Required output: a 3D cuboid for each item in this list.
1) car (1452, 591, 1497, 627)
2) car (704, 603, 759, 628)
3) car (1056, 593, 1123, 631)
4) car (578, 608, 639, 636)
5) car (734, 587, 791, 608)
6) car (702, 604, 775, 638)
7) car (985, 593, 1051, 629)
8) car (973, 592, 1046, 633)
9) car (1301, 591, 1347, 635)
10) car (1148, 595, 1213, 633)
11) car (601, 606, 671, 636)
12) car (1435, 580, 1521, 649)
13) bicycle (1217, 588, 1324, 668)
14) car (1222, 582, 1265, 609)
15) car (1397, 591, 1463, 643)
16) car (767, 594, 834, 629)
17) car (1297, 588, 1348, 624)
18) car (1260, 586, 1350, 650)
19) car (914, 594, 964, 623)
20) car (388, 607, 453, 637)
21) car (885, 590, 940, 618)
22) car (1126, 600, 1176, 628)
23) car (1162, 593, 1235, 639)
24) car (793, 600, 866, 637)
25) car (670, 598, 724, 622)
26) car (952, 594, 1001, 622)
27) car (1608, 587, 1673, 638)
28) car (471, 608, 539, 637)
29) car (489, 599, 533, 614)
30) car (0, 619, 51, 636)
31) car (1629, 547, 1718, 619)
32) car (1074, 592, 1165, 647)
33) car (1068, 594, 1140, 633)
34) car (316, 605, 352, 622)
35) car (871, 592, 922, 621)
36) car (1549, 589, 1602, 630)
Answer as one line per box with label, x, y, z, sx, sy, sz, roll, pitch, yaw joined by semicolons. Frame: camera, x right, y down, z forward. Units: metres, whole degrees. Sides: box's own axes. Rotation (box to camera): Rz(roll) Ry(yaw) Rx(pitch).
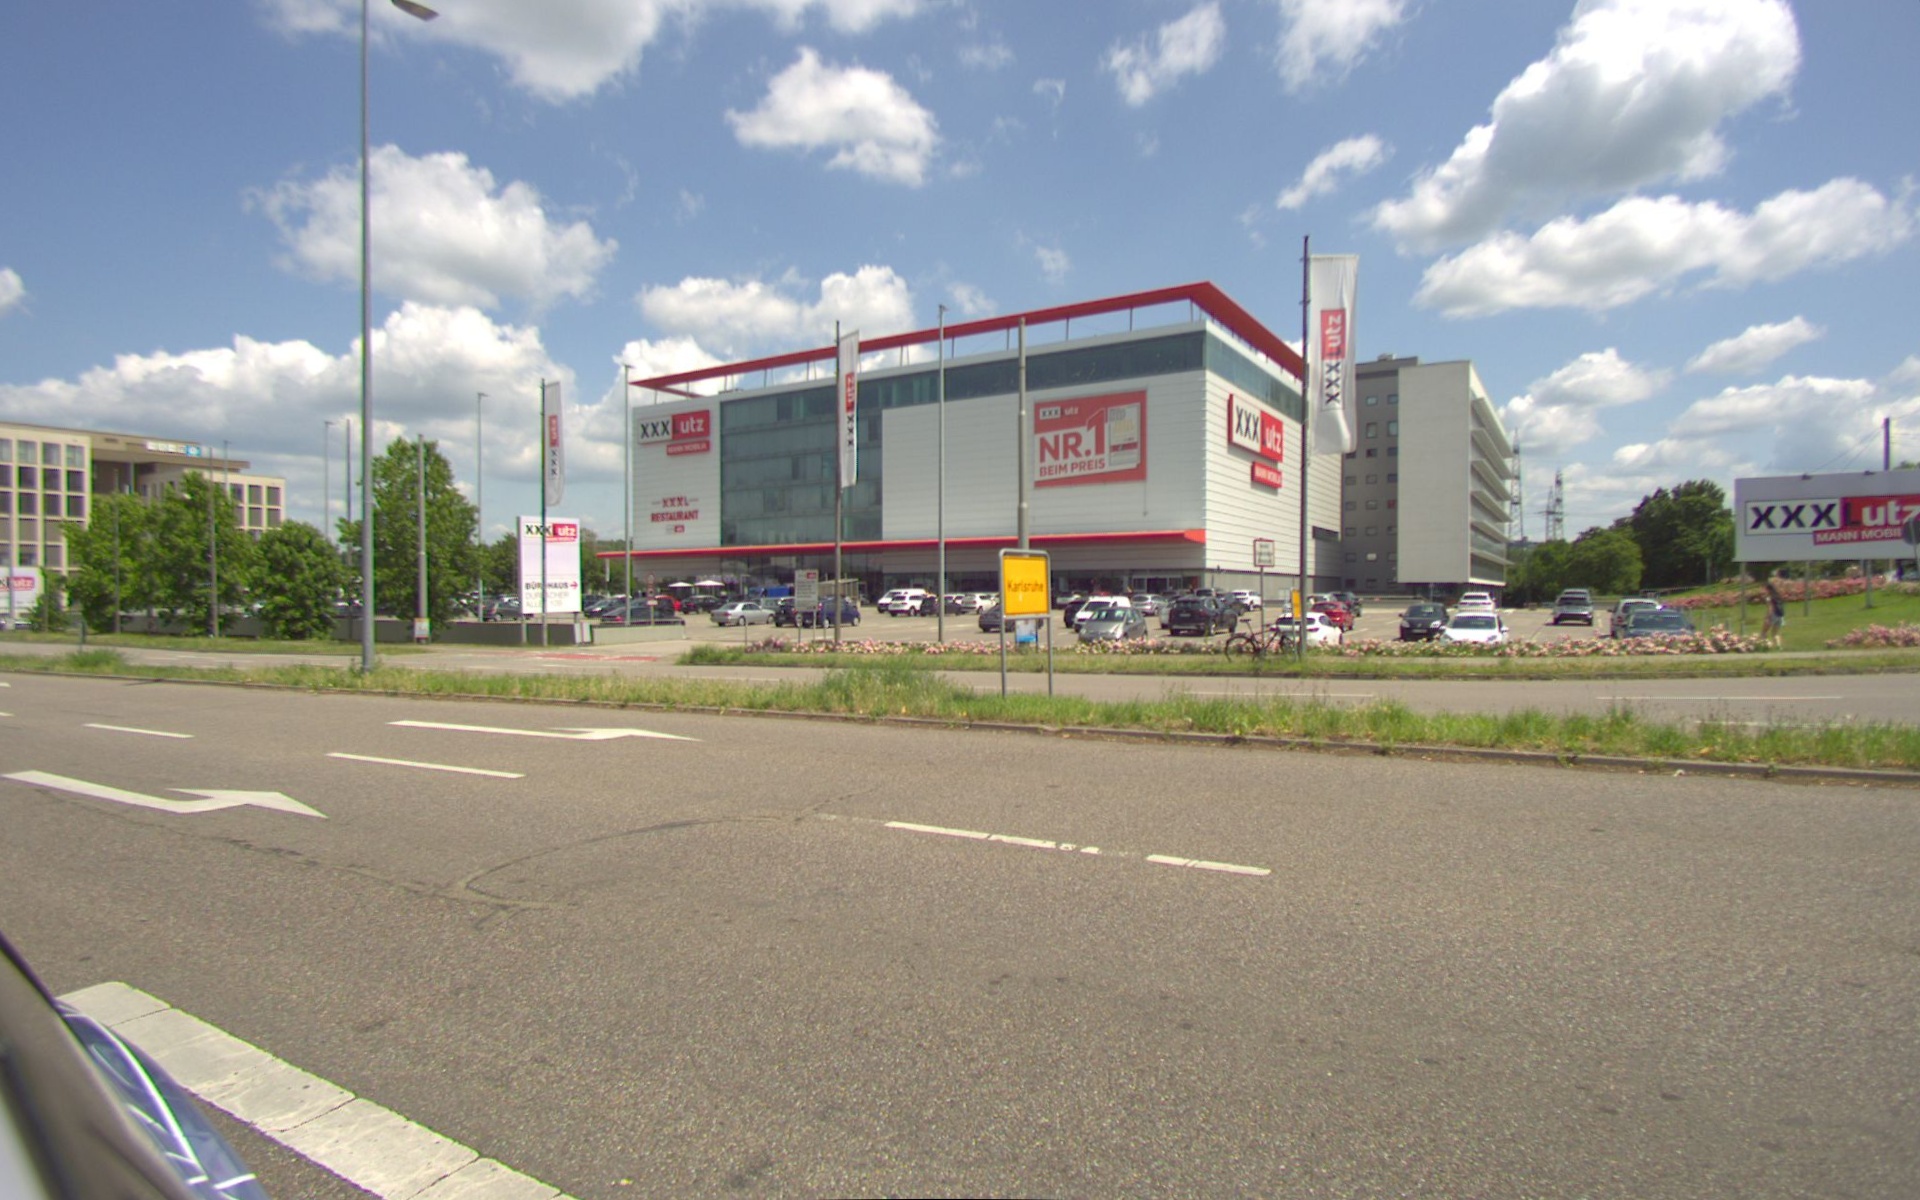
car;30.107;0.521;59.161;1.993;2.004;4.316;-1;-1;31
car;-18.933;1.306;84.043;1.993;2.004;4.316;-1;-1;31
car;7.086;0.646;55.052;1.993;2.004;4.316;-1;-1;31
car;-27.294;1.692;78.748;1.984;2.058;4.255;-1;-1;31
car;-17.633;-0.159;90.444;2.191;1.792;5.080;-1;-1;31
car;-13.732;1.298;62.927;1.993;2.004;4.316;-1;-1;31
car;3.389;0.603;58.220;1.993;2.004;4.316;1;0;31
car;2.598;0.638;52.185;1.993;2.004;4.316;-1;-1;31
car;17.717;0.613;49.279;1.985;2.004;5.274;-1;0;20
car;11.524;0.718;52.709;1.993;1.896;4.316;-1;-1;31
car;-22.146;1.399;69.257;1.993;2.004;4.316;-1;-1;31
car;16.344;0.445;31.820;1.994;2.029;3.955;-1;-1;33
bicycle;6.865;0.621;22.392;2.042;1.688;1.009;-1;-1;33
car;21.449;-0.320;76.396;1.994;2.004;4.040;-1;-1;33
car;19.380;0.682;41.641;1.993;2.004;4.316;-1;-1;31
car;-9.543;0.657;60.749;1.836;2.004;4.042;-1;1;31
car;21.123;0.365;58.839;1.992;2.004;4.579;-1;-1;30
car;11.751;0.587;34.272;1.993;2.004;4.316;-1;-1;31
car;-1.517;0.613;73.238;1.771;2.029;3.957;-1;-1;31
car;-44.225;1.796;83.088;1.993;2.346;4.316;-1;-1;31
car;-3.484;0.308;74.652;1.993;2.004;4.316;-1;-1;31
car;13.086;0.944;69.279;1.993;1.896;4.316;-1;-1;31
car;11.132;0.690;46.964;1.993;2.004;4.548;0;1;31
car;-7.605;1.075;59.287;1.993;2.004;4.317;-1;1;31
car;-22.486;0.845;86.745;1.993;2.004;4.316;-1;-1;31
car;1.273;0.602;77.475;1.993;2.029;3.957;-1;-1;31
car;28.074;0.496;41.872;1.993;2.004;4.316;-1;-1;31
car;-34.461;1.686;76.726;1.993;2.004;4.316;-3;-1;31
car;-45.070;0.667;101.681;1.676;1.481;3.789;-1;-1;34
car;-102.206;3.009;110.786;3.935;1.704;1.862;0;-1;-38
car;21.668;-0.467;30.873;1.994;2.029;3.956;-1;-1;33
car;6.176;0.714;38.801;1.993;2.004;4.316;-1;-1;31
car;7.227;0.654;50.476;1.993;1.853;4.316;-1;-1;31
car;-69.630;1.523;112.496;3.817;1.847;1.837;-1;-1;30
car;-5.116;0.510;82.103;1.863;2.324;4.522;-1;-1;31
car;31.902;0.479;52.513;2.242;2.004;4.316;-1;-1;31
